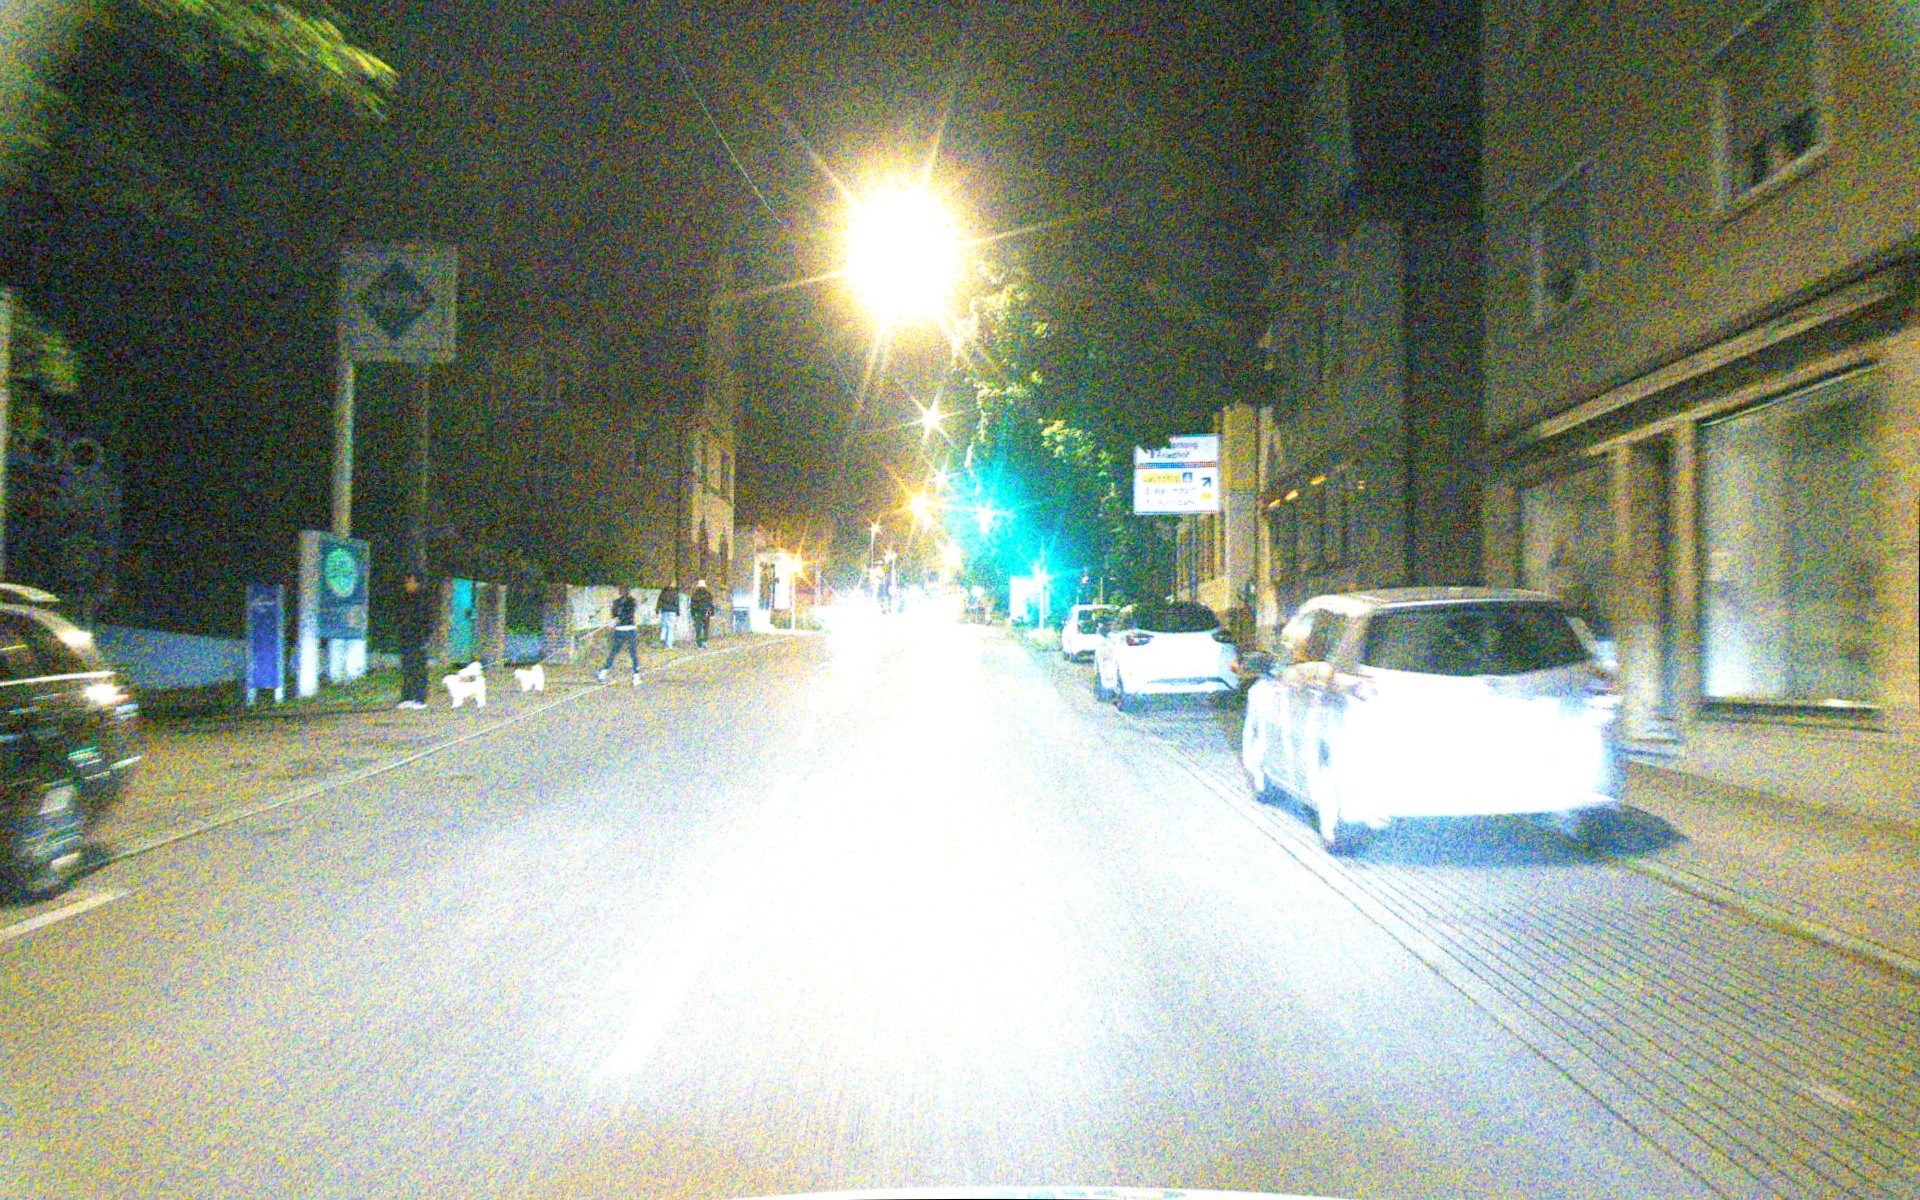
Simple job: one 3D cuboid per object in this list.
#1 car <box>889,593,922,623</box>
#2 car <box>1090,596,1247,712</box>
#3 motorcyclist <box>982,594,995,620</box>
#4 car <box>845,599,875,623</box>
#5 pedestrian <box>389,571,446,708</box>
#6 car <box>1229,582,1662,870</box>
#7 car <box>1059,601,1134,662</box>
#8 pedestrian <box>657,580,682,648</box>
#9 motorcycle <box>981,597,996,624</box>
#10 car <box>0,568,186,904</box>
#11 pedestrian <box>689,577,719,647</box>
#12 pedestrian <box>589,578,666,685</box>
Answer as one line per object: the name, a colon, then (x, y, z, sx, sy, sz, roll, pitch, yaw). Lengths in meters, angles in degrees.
car: (-3.369, 0.502, 102.948, 1.904, 1.747, 4.000, 1, -1, 0)
car: (3.047, 0.740, 24.946, 1.830, 1.553, 4.149, -1, 0, 0)
motorcyclist: (1.947, 0.472, 112.986, 0.831, 1.783, 0.805, 1, -1, 0)
car: (-6.642, 0.754, 109.764, 1.680, 1.483, 3.922, 1, -1, 0)
pedestrian: (-7.007, 0.506, 21.376, 0.570, 1.729, 0.530, 2, -1, -8)
car: (3.128, 0.708, 11.596, 1.775, 1.622, 4.273, -1, 0, 0)
car: (3.590, 0.806, 44.059, 1.596, 1.522, 3.413, 1, 0, -2)
pedestrian: (-7.497, 0.363, 42.683, 0.559, 1.729, 0.927, 2, -1, -9)
motorcycle: (1.943, 0.734, 112.980, 0.912, 1.783, 2.624, 1, -1, 0)
car: (-5.033, 0.591, 6.618, 1.686, 1.462, 4.809, 1, 1, -1)
pedestrian: (-6.694, 0.320, 43.257, 0.704, 1.796, 0.602, 2, -1, -8)
pedestrian: (-5.600, 0.530, 27.844, 0.751, 1.729, 0.924, 3, 0, 32)
